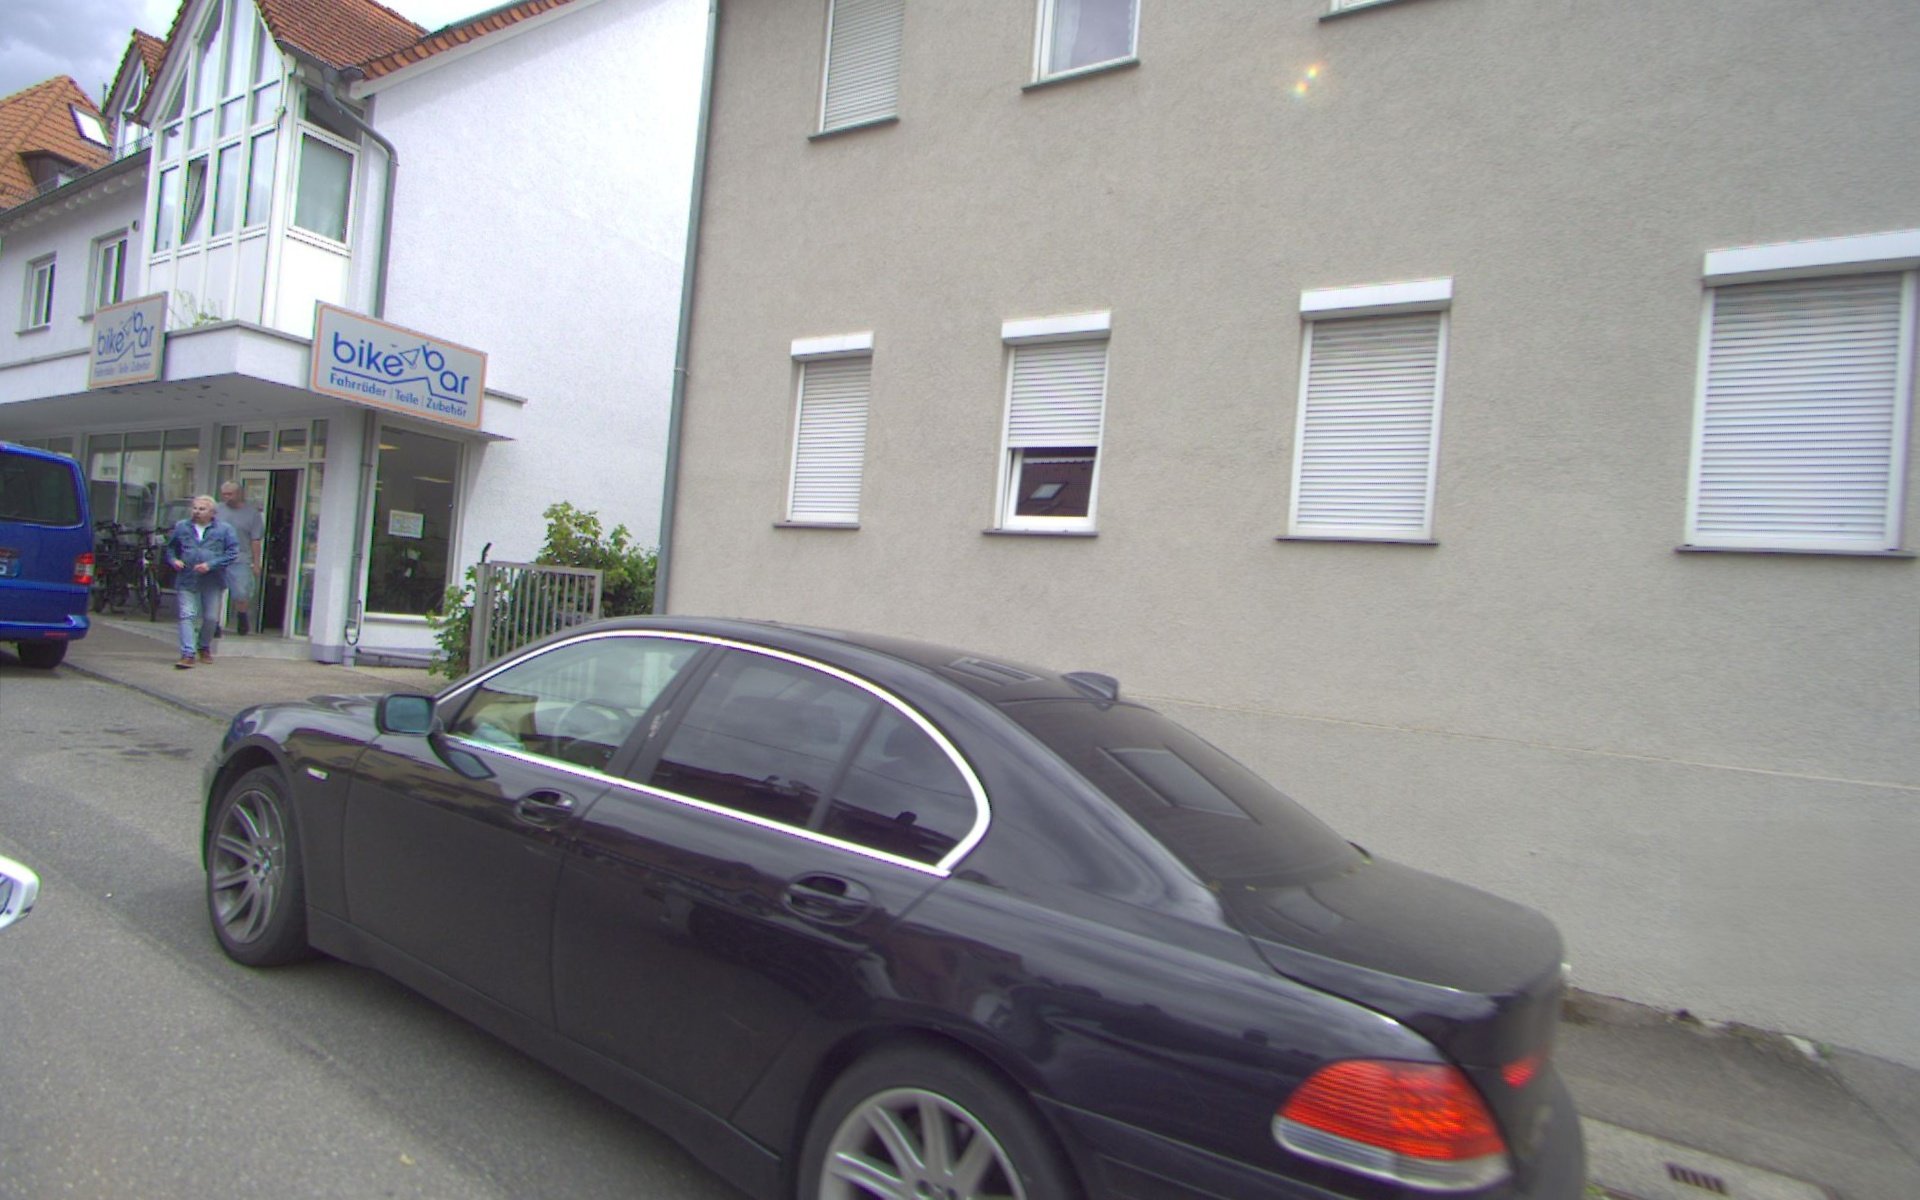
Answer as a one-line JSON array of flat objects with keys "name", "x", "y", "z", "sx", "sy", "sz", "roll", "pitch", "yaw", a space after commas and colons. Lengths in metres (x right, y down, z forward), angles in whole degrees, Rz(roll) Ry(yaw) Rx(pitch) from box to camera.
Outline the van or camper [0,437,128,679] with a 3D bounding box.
[{"name": "van or camper", "x": -9.931, "y": -0.619, "z": 9.248, "sx": 4.750, "sy": 1.949, "sz": 1.930, "roll": 7, "pitch": 0, "yaw": 31}]

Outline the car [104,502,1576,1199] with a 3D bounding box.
[{"name": "car", "x": -0.739, "y": 0.721, "z": 3.561, "sx": 4.810, "sy": 1.535, "sz": 1.997, "roll": 7, "pitch": -2, "yaw": 32}]

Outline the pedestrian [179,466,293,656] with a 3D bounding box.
[{"name": "pedestrian", "x": -8.309, "y": -0.432, "z": 11.579, "sx": 0.752, "sy": 2.038, "sz": 0.616, "roll": 7, "pitch": 0, "yaw": -23}]

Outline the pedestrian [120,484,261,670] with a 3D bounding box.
[{"name": "pedestrian", "x": -7.810, "y": -0.222, "z": 10.252, "sx": 0.862, "sy": 1.746, "sz": 0.616, "roll": 7, "pitch": 0, "yaw": -23}]
